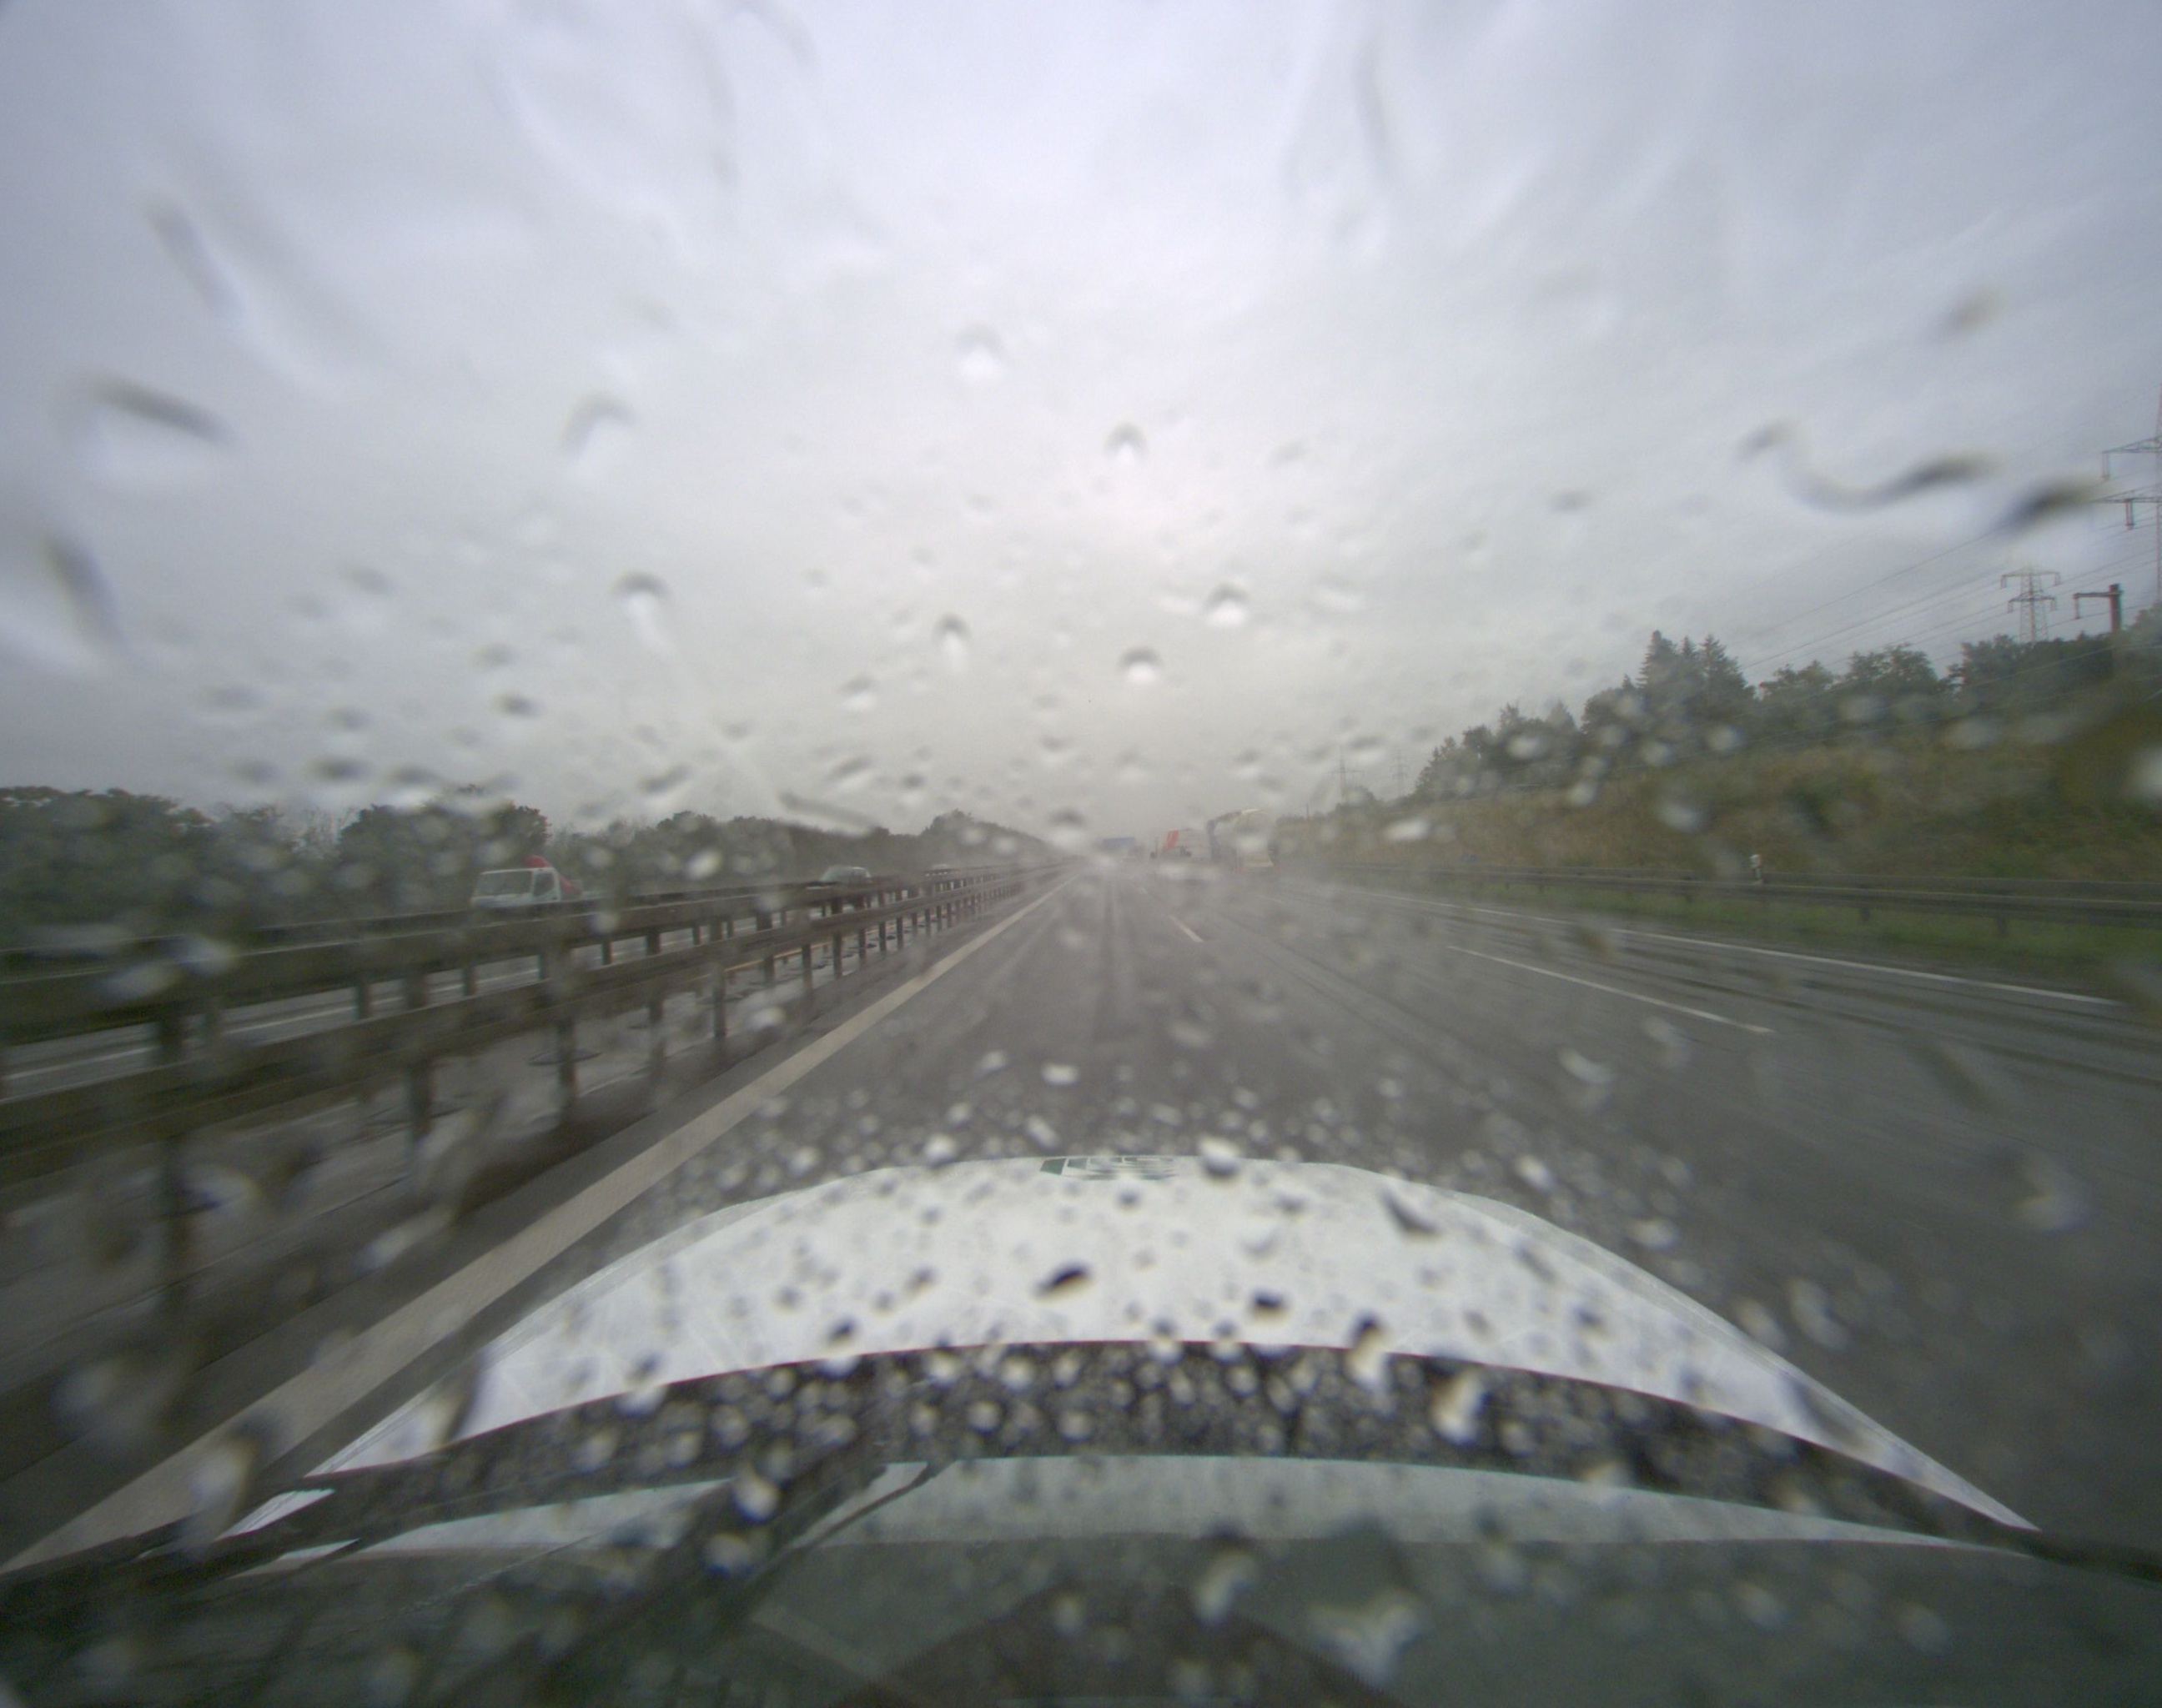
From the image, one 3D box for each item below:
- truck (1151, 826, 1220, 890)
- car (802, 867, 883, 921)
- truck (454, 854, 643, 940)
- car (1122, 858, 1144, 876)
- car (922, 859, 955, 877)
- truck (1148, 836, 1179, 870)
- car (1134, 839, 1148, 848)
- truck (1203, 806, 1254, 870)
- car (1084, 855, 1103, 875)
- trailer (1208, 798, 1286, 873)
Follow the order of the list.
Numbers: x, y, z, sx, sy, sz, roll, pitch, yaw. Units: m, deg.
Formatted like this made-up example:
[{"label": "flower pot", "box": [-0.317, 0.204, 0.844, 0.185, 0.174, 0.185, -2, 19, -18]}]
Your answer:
[{"label": "truck", "box": [4.370, 0.146, 34.866, 2.410, 2.492, 5.562, -1, 0, 2]}, {"label": "car", "box": [-10.274, 1.674, 35.472, 1.986, 2.104, 4.767, -1, 0, 1]}, {"label": "truck", "box": [-18.135, 1.328, 28.274, 2.319, 2.619, 6.265, -1, 0, 1]}, {"label": "car", "box": [4.162, 1.032, 65.105, 1.600, 1.338, 3.849, -1, 0, 1]}, {"label": "car", "box": [-12.812, 1.202, 73.437, 1.986, 1.530, 4.655, -1, 0, 1]}, {"label": "truck", "box": [11.903, 0.063, 119.178, 3.029, 4.588, 16.349, -1, -1, 1]}, {"label": "car", "box": [13.111, -2.334, 179.487, 2.778, 2.013, 4.994, -1, 0, 1]}, {"label": "truck", "box": [9.649, -0.990, 53.724, 2.488, 3.983, 5.076, -1, 0, 1]}, {"label": "car", "box": [1.233, 1.008, 76.980, 1.695, 1.818, 3.863, -1, 0, 2]}, {"label": "trailer", "box": [9.554, -0.944, 48.127, 2.488, 3.882, 11.067, -1, 0, 1]}]
